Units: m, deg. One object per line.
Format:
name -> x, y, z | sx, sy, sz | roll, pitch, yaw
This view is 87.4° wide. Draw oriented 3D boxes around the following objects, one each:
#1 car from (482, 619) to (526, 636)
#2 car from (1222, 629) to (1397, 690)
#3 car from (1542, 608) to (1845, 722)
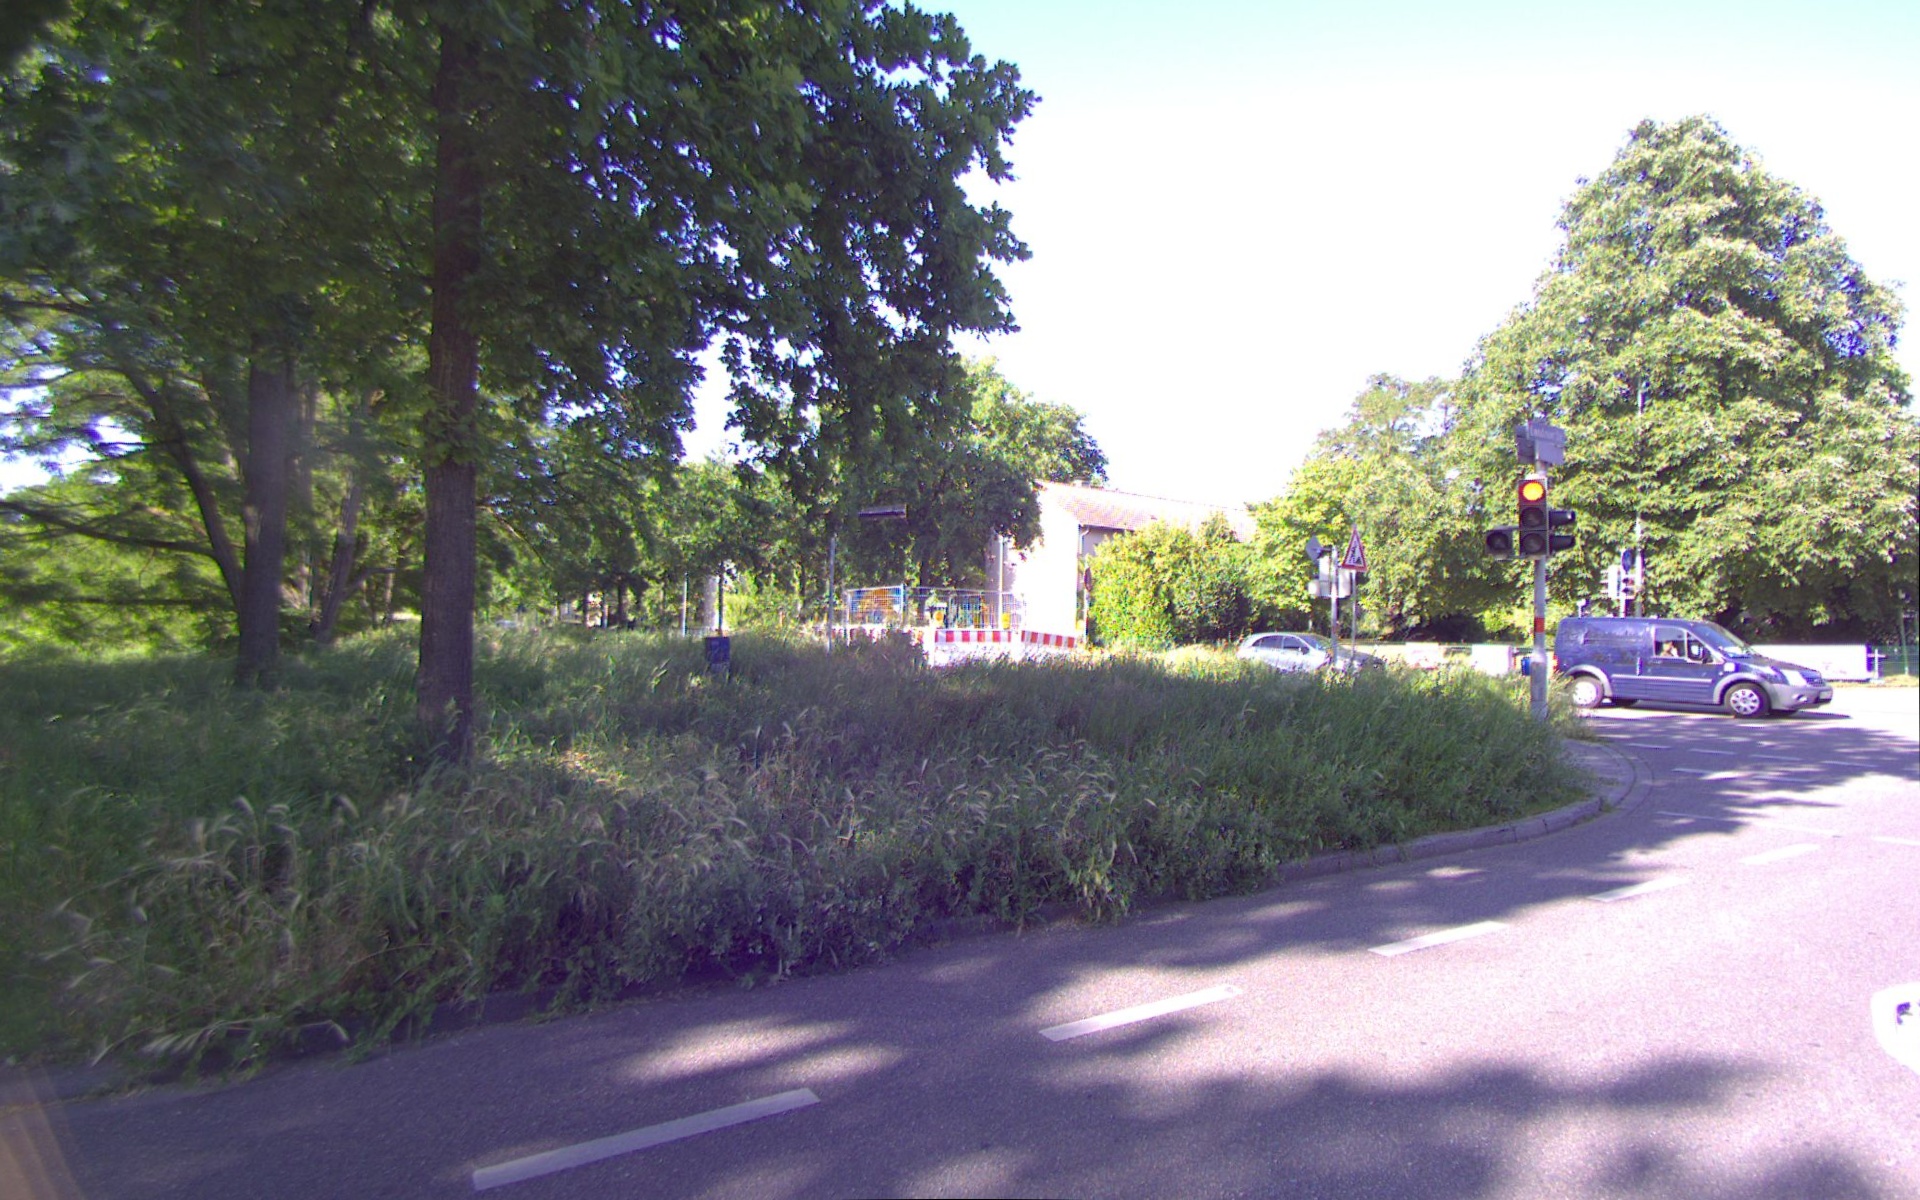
car -> -47.365, 2.864, 104.503 | 3.939, 1.673, 1.991 | 2, 0, -20
car -> 9.352, 1.535, 27.208 | 1.892, 1.508, 4.261 | 1, -2, -31
car -> 13.788, 1.139, 19.140 | 1.840, 1.912, 4.319 | 1, -1, -33
